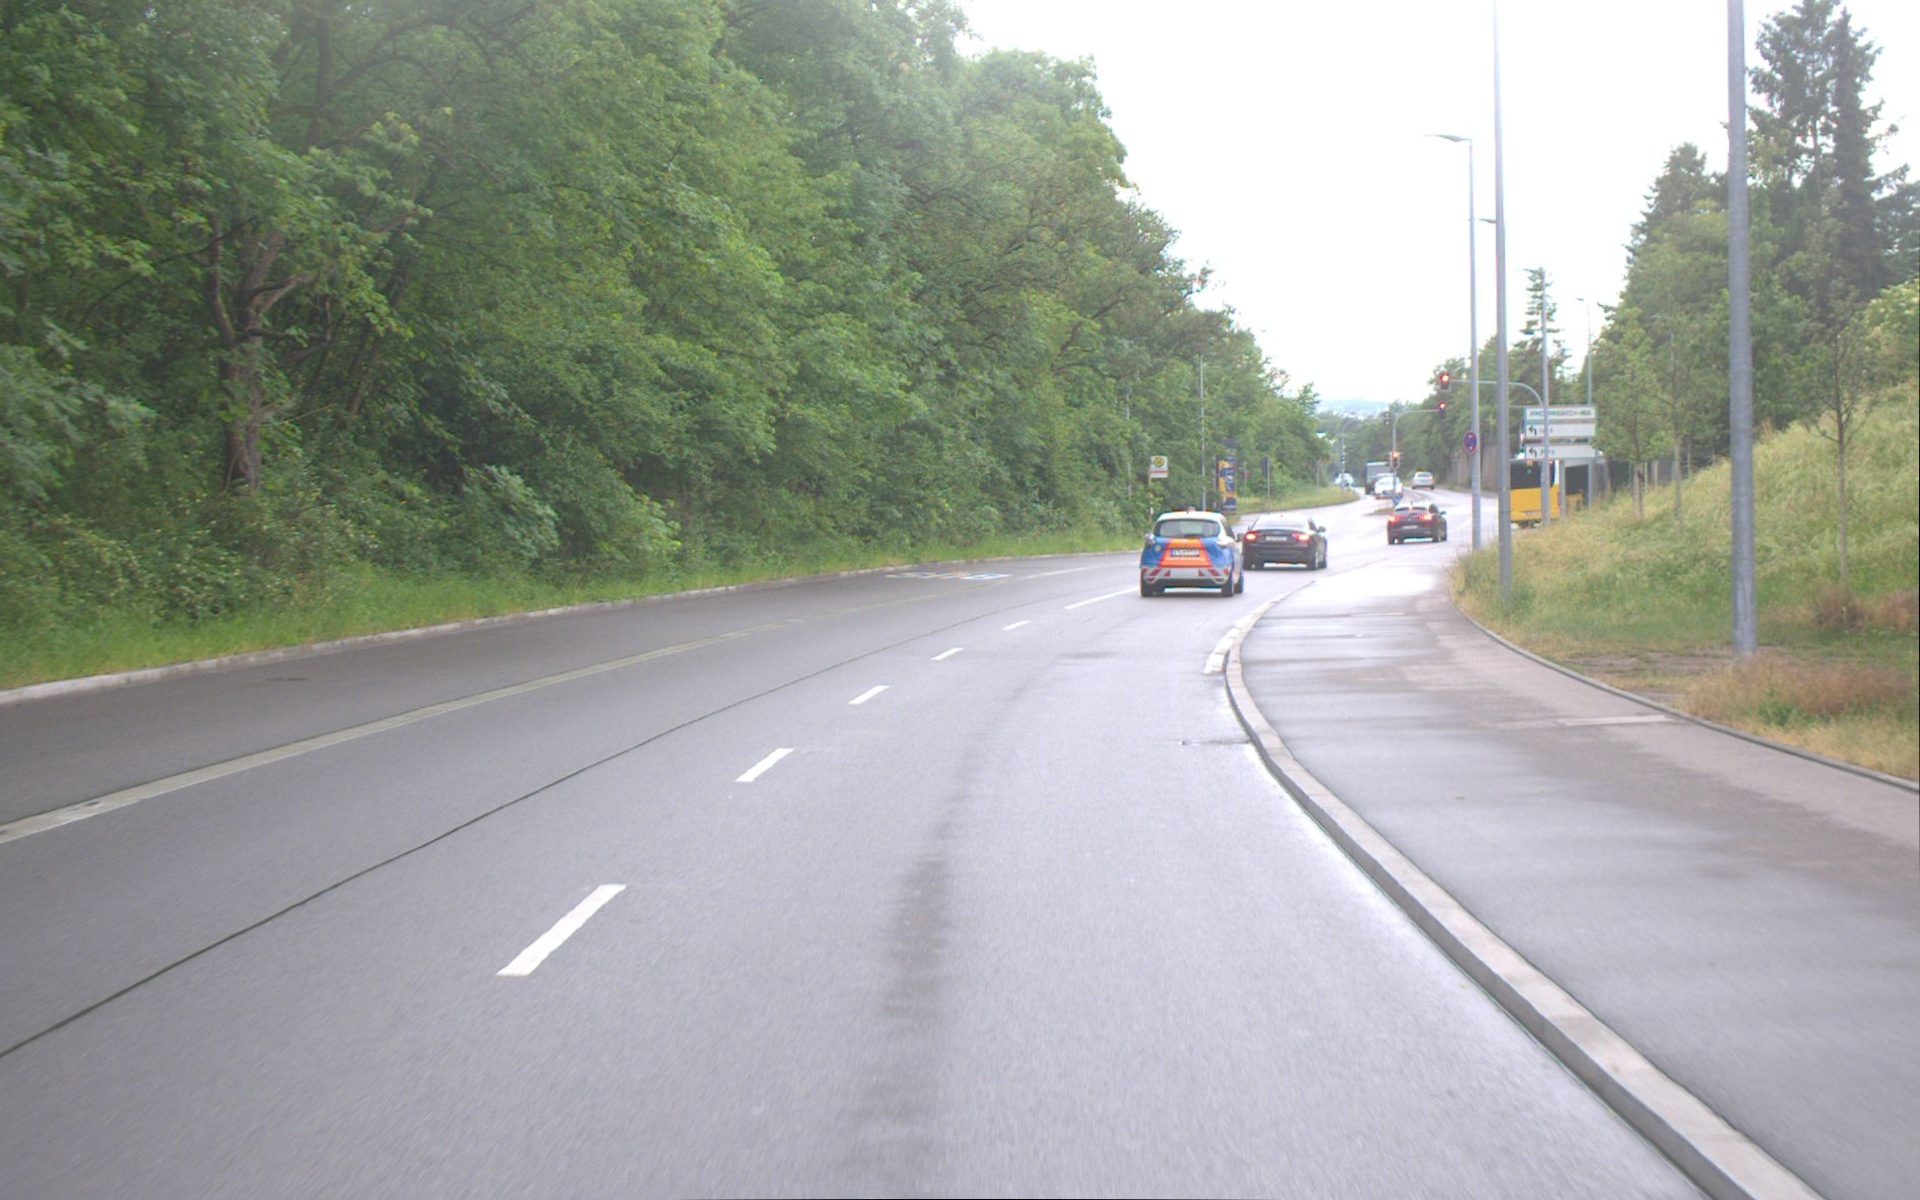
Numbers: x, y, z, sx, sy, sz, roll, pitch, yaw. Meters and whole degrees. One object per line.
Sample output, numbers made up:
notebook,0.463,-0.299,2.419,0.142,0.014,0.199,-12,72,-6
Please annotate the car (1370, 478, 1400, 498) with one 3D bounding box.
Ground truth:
car,30.076,-7.920,243.217,1.994,1.415,4.000,0,2,5

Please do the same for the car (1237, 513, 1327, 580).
car,8.068,-1.346,85.974,1.928,1.481,3.798,-1,3,10

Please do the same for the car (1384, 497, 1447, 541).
car,16.234,-2.887,122.321,1.994,1.546,3.998,0,2,11

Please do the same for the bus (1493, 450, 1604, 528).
bus,24.448,-4.576,142.554,2.820,3.132,9.171,1,2,21

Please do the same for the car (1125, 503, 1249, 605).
car,4.285,-0.889,64.411,1.994,1.683,3.999,-2,3,8
